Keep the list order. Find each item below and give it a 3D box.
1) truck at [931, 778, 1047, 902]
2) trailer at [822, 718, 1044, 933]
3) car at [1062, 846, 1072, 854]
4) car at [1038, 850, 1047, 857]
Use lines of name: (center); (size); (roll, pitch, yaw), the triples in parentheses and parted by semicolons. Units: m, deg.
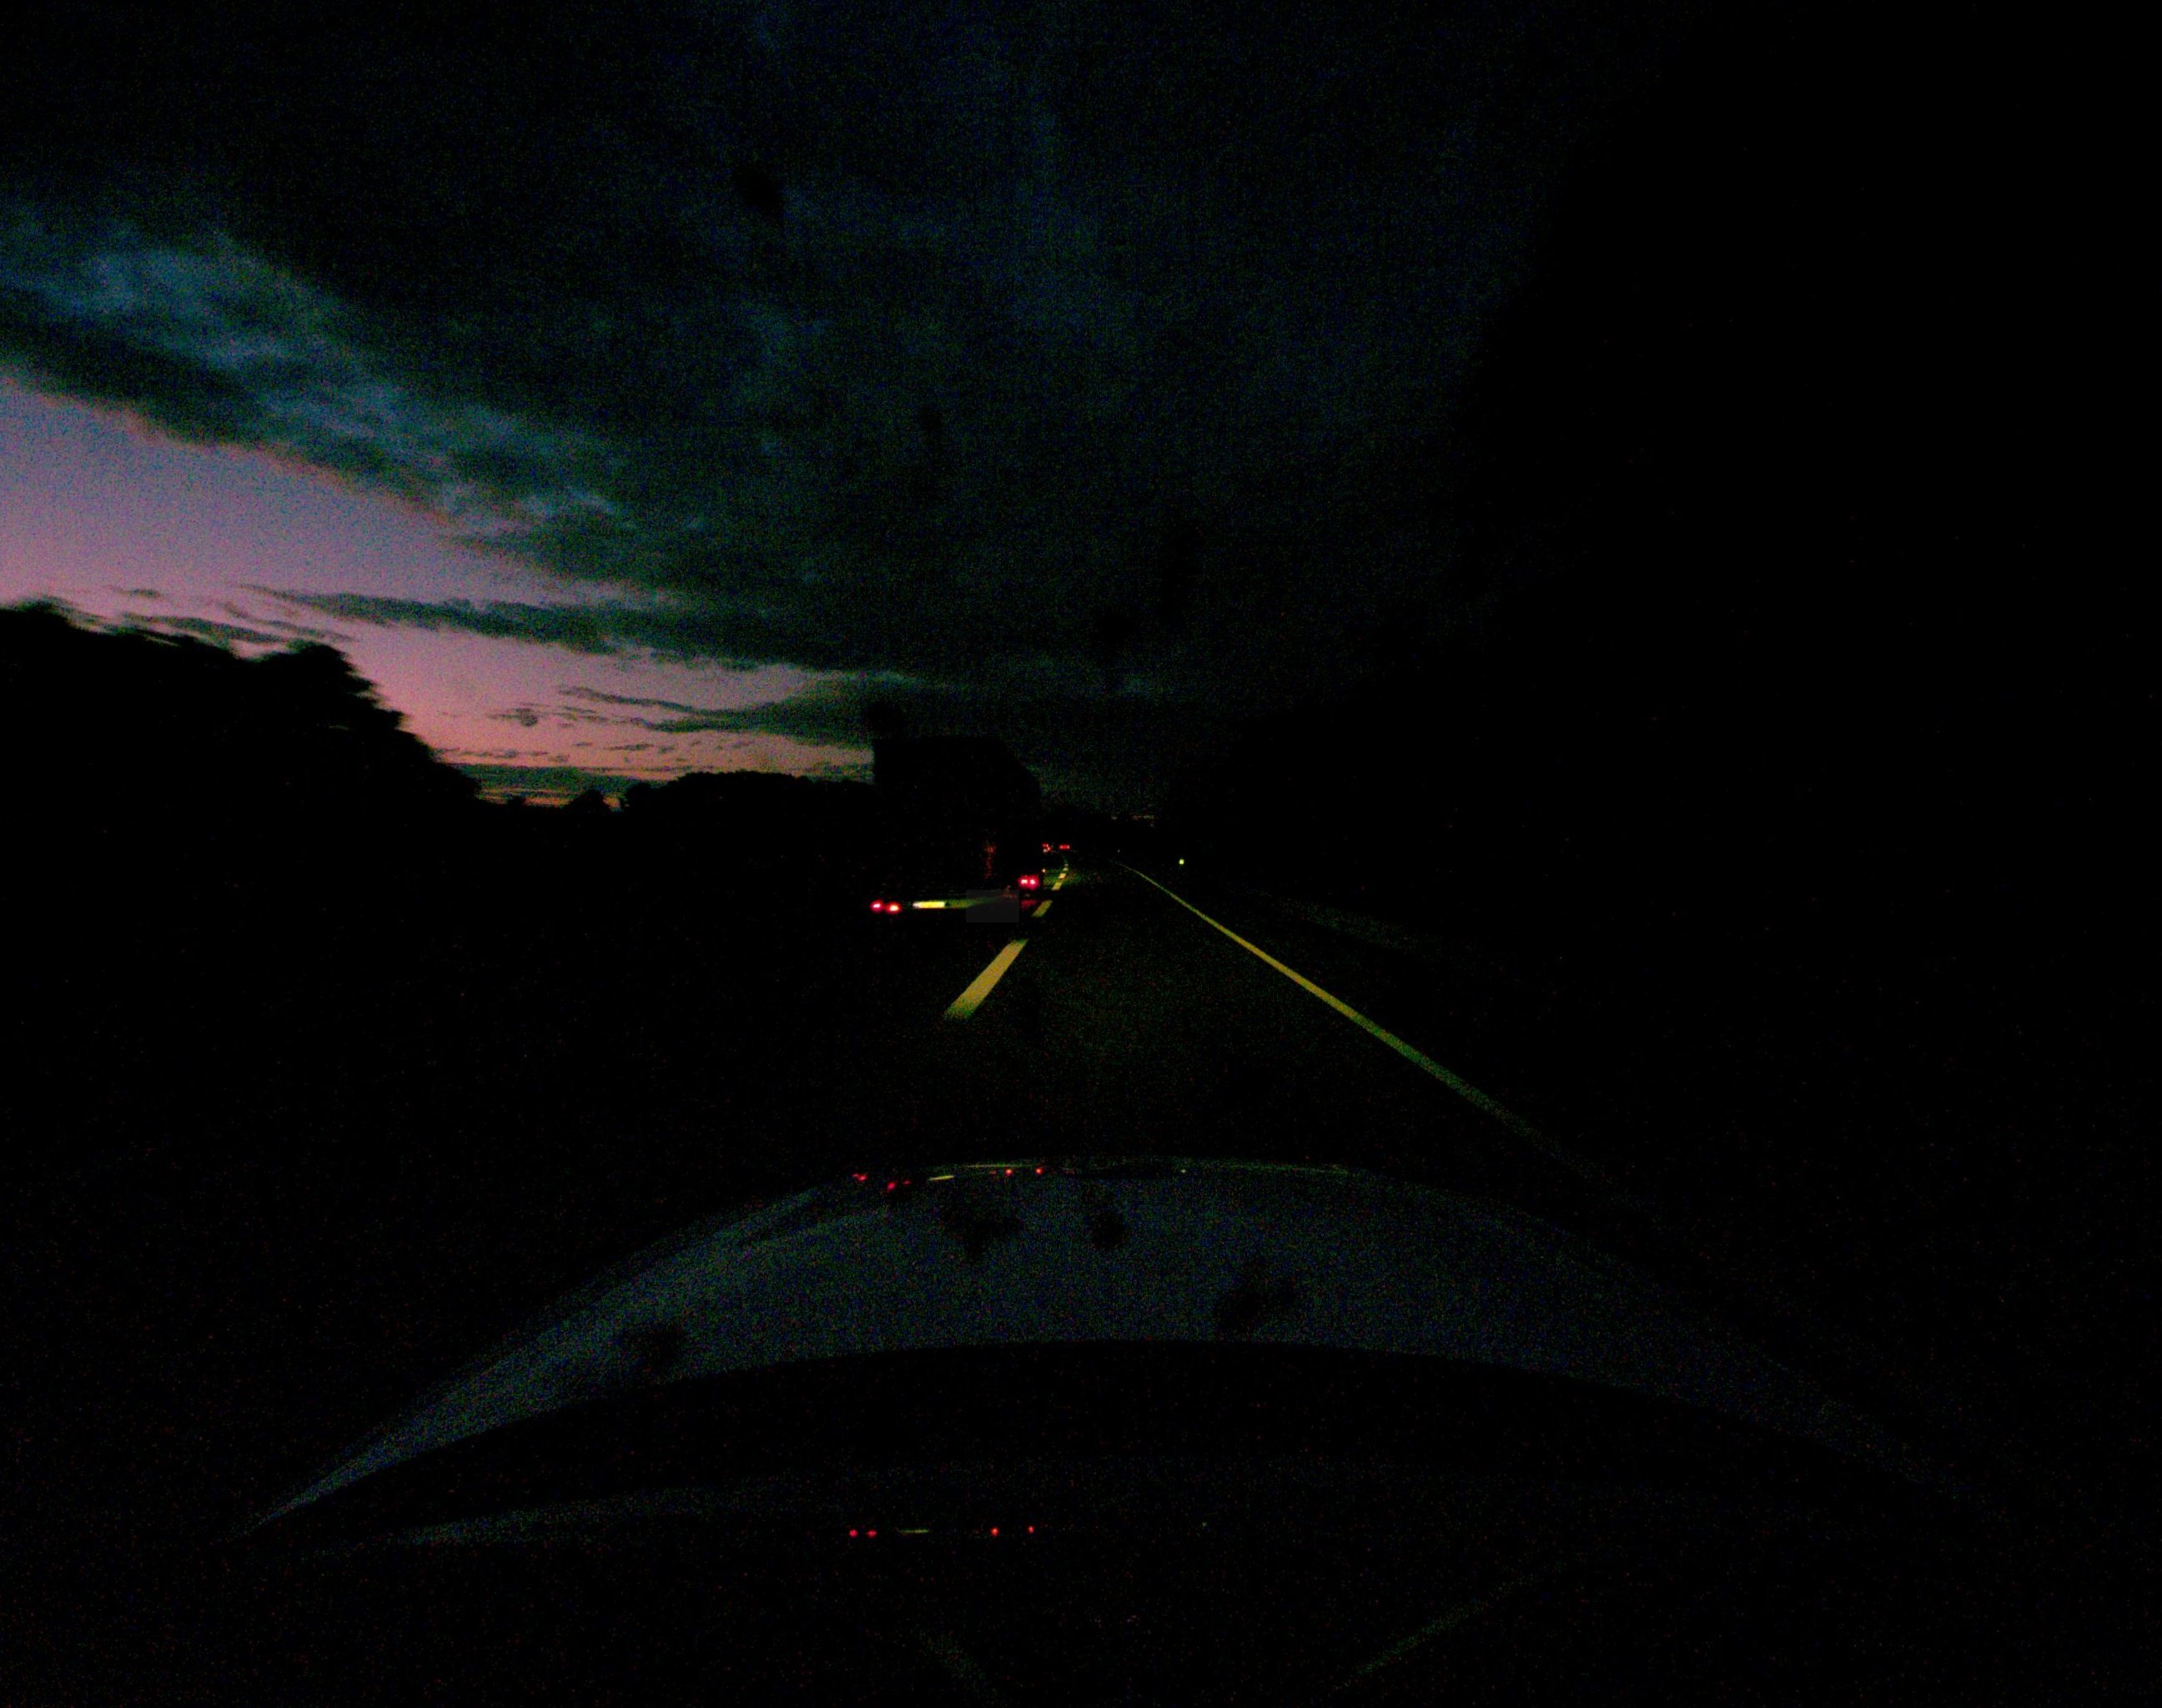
truck: (-3.202, -0.455, 30.324); (3.539, 4.091, 6.150); (-1, 0, 0)
trailer: (-3.227, -0.509, 23.393); (3.539, 4.116, 15.060); (-1, 0, 0)
car: (-2.965, -0.839, 167.930); (1.989, 1.354, 3.995); (0, -2, -3)
car: (-7.608, -0.099, 161.105); (1.880, 1.354, 3.995); (0, -2, -3)
